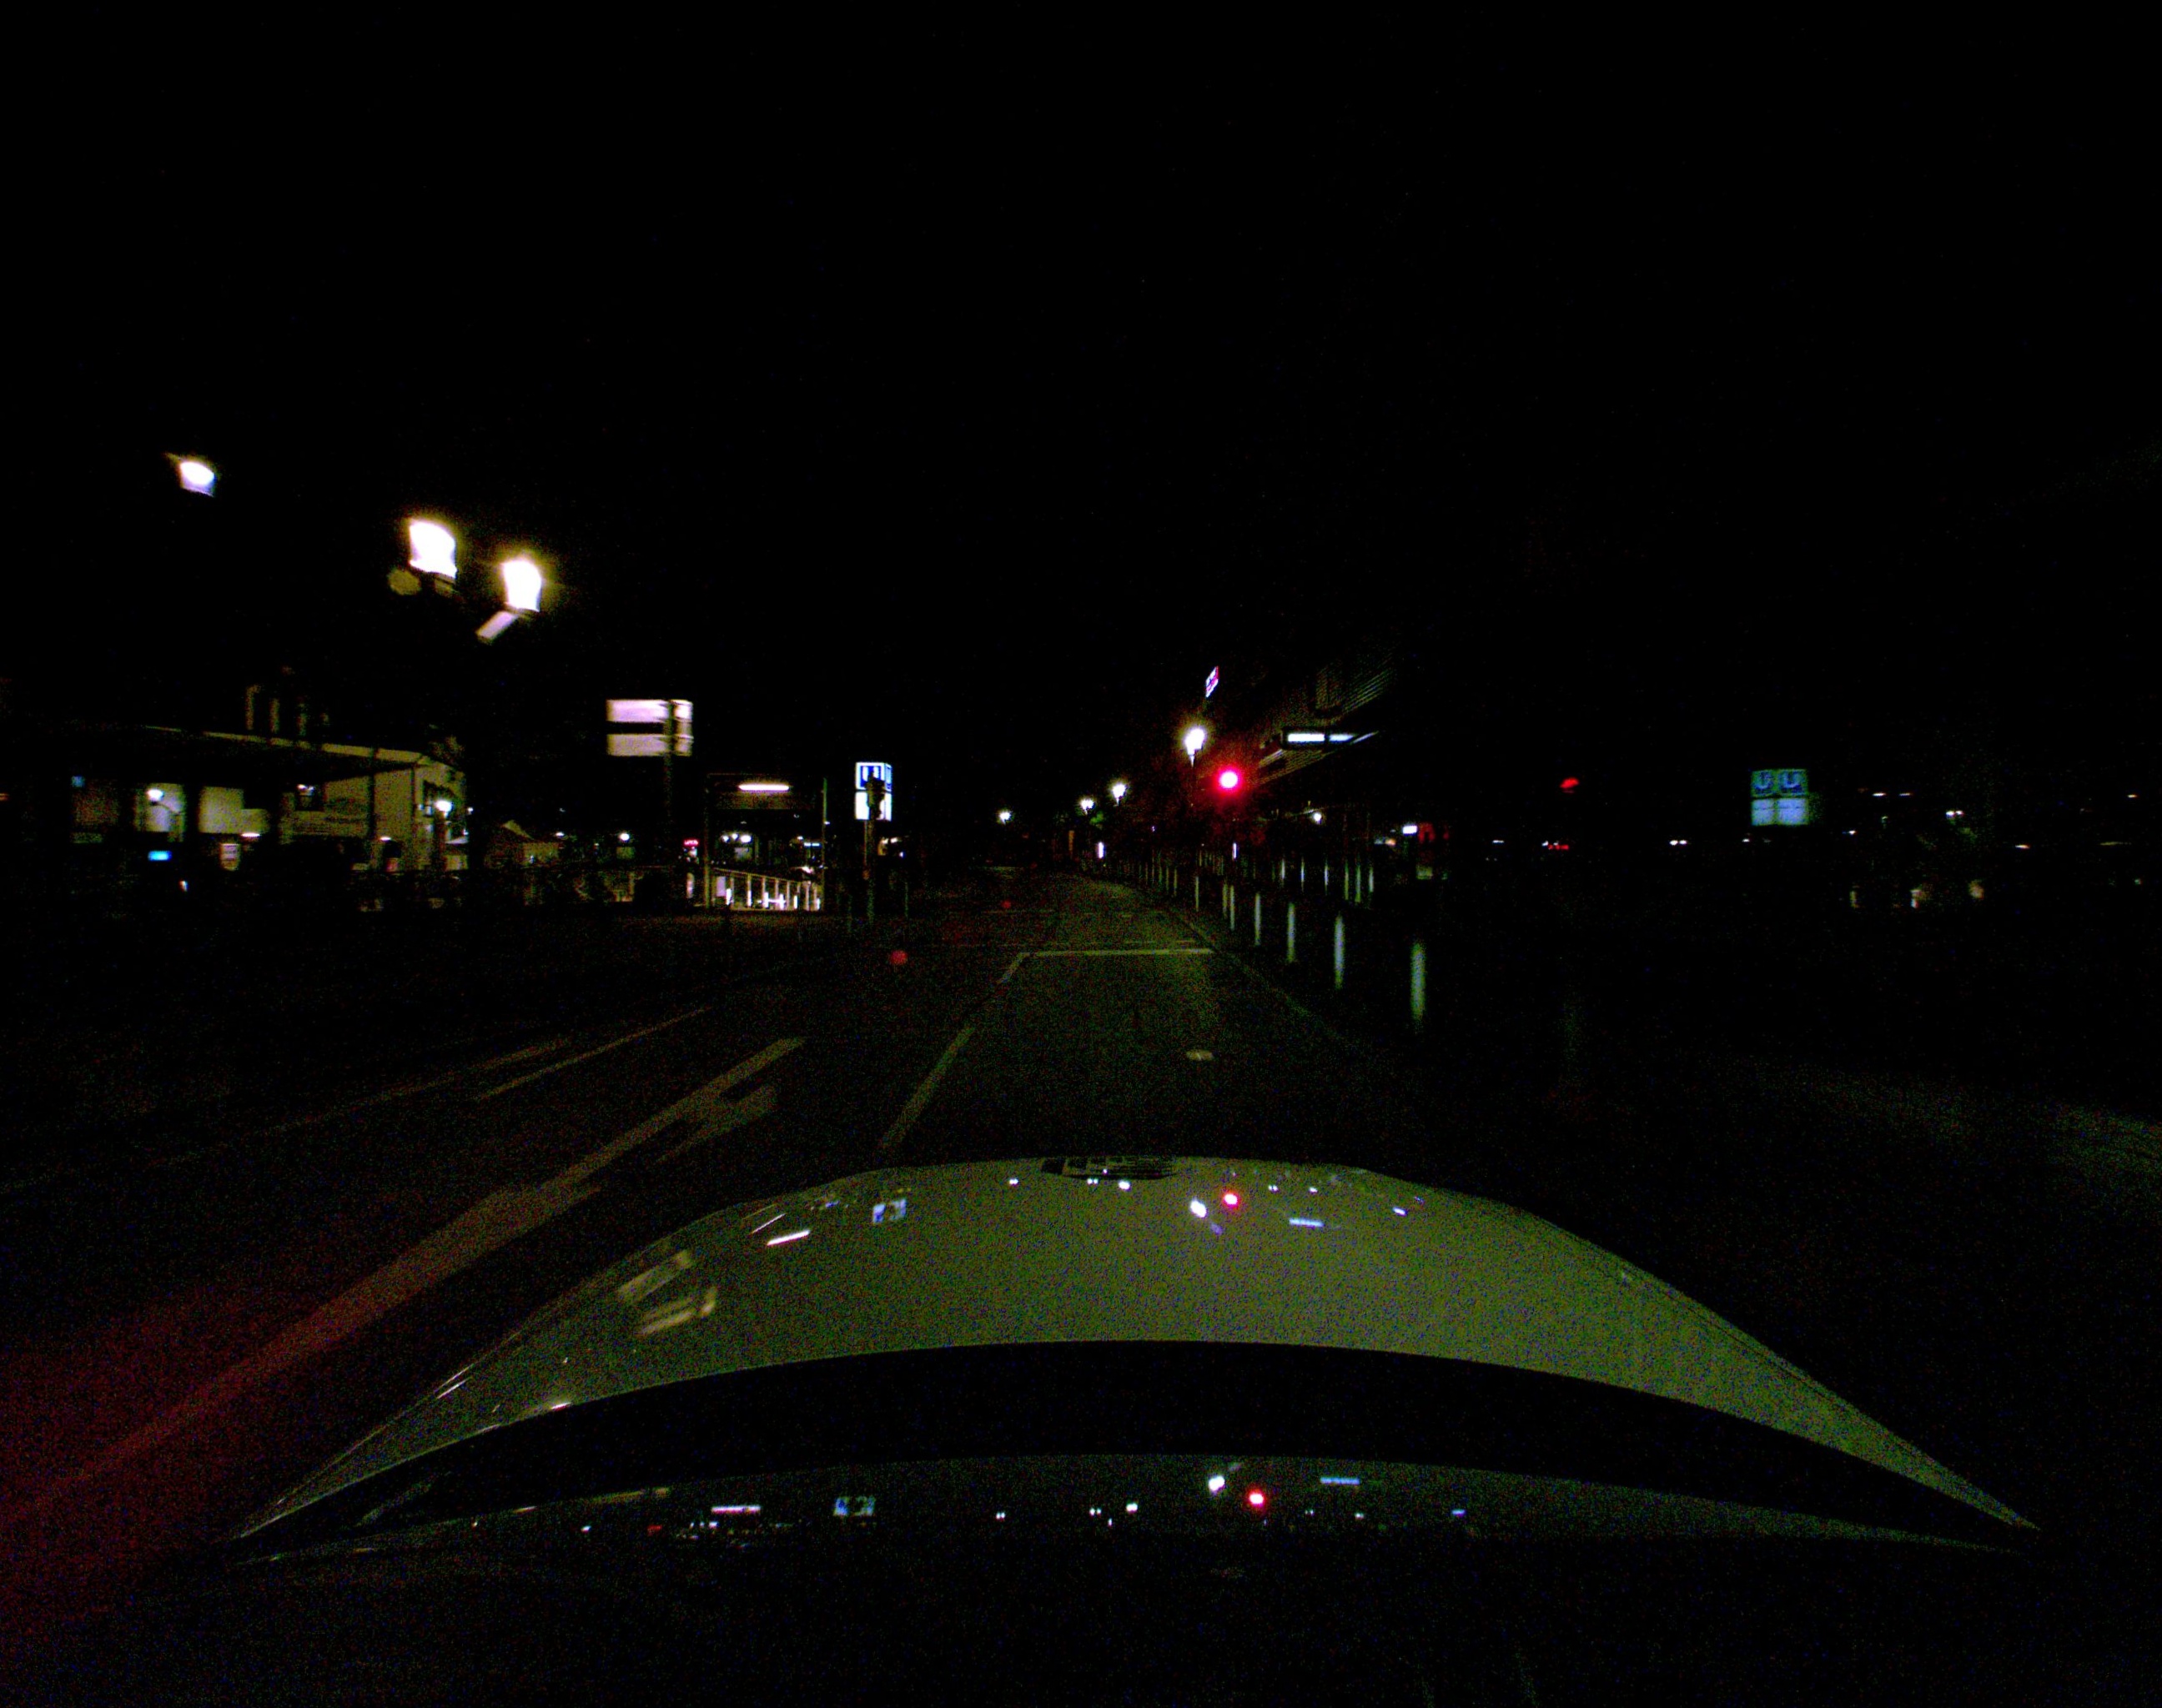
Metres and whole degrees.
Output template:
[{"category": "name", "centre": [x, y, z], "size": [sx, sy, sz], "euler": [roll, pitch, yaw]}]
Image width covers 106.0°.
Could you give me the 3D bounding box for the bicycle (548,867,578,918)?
[{"category": "bicycle", "centre": [-12.749, 0.915, 20.075], "size": [0.546, 1.154, 1.730], "euler": [-2, 1, -30]}]

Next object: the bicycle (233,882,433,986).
[{"category": "bicycle", "centre": [-8.360, 0.879, 9.144], "size": [1.610, 1.105, 0.670], "euler": [0, -1, 1]}]

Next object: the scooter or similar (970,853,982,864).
[{"category": "scooter or similar", "centre": [-11.553, 0.507, 89.560], "size": [1.253, 1.227, 0.593], "euler": [1, 0, -26]}]

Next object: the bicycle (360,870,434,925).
[{"category": "bicycle", "centre": [-15.662, 0.970, 18.699], "size": [0.608, 1.125, 1.738], "euler": [-1, 1, -16]}]

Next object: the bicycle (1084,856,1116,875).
[{"category": "bicycle", "centre": [1.092, 0.637, 46.710], "size": [1.757, 1.062, 0.650], "euler": [0, 1, -24]}]

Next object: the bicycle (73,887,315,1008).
[{"category": "bicycle", "centre": [-8.555, 0.880, 7.899], "size": [1.610, 1.105, 0.670], "euler": [0, -1, 1]}]

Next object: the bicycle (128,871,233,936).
[{"category": "bicycle", "centre": [-18.786, 1.003, 17.041], "size": [0.608, 1.218, 1.738], "euler": [-1, 1, -16]}]

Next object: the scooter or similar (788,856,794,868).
[{"category": "scooter or similar", "centre": [-32.194, 0.880, 90.376], "size": [0.433, 1.284, 1.135], "euler": [-2, 1, -33]}]

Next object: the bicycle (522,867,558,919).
[{"category": "bicycle", "centre": [-13.317, 0.922, 20.073], "size": [0.611, 1.165, 1.730], "euler": [-2, 1, -30]}]

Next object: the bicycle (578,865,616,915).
[{"category": "bicycle", "centre": [-12.406, 0.898, 20.889], "size": [0.764, 1.162, 1.730], "euler": [-2, 1, -31]}]

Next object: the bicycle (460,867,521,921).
[{"category": "bicycle", "centre": [-14.322, 0.946, 19.797], "size": [0.608, 1.165, 1.738], "euler": [-1, 1, -15]}]

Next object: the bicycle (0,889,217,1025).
[{"category": "bicycle", "centre": [-8.750, 0.879, 7.149], "size": [1.610, 1.105, 0.670], "euler": [0, -1, 1]}]

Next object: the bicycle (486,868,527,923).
[{"category": "bicycle", "centre": [-13.487, 0.937, 19.143], "size": [0.611, 1.165, 1.730], "euler": [-2, 1, -30]}]

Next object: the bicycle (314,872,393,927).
[{"category": "bicycle", "centre": [-16.552, 1.013, 18.574], "size": [0.608, 1.100, 1.738], "euler": [-1, 1, -16]}]

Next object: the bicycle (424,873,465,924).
[{"category": "bicycle", "centre": [-14.779, 1.013, 18.930], "size": [0.611, 1.069, 1.729], "euler": [-2, 1, -34]}]

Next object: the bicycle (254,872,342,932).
[{"category": "bicycle", "centre": [-17.129, 1.013, 17.871], "size": [0.608, 1.165, 1.738], "euler": [-1, 1, -16]}]
